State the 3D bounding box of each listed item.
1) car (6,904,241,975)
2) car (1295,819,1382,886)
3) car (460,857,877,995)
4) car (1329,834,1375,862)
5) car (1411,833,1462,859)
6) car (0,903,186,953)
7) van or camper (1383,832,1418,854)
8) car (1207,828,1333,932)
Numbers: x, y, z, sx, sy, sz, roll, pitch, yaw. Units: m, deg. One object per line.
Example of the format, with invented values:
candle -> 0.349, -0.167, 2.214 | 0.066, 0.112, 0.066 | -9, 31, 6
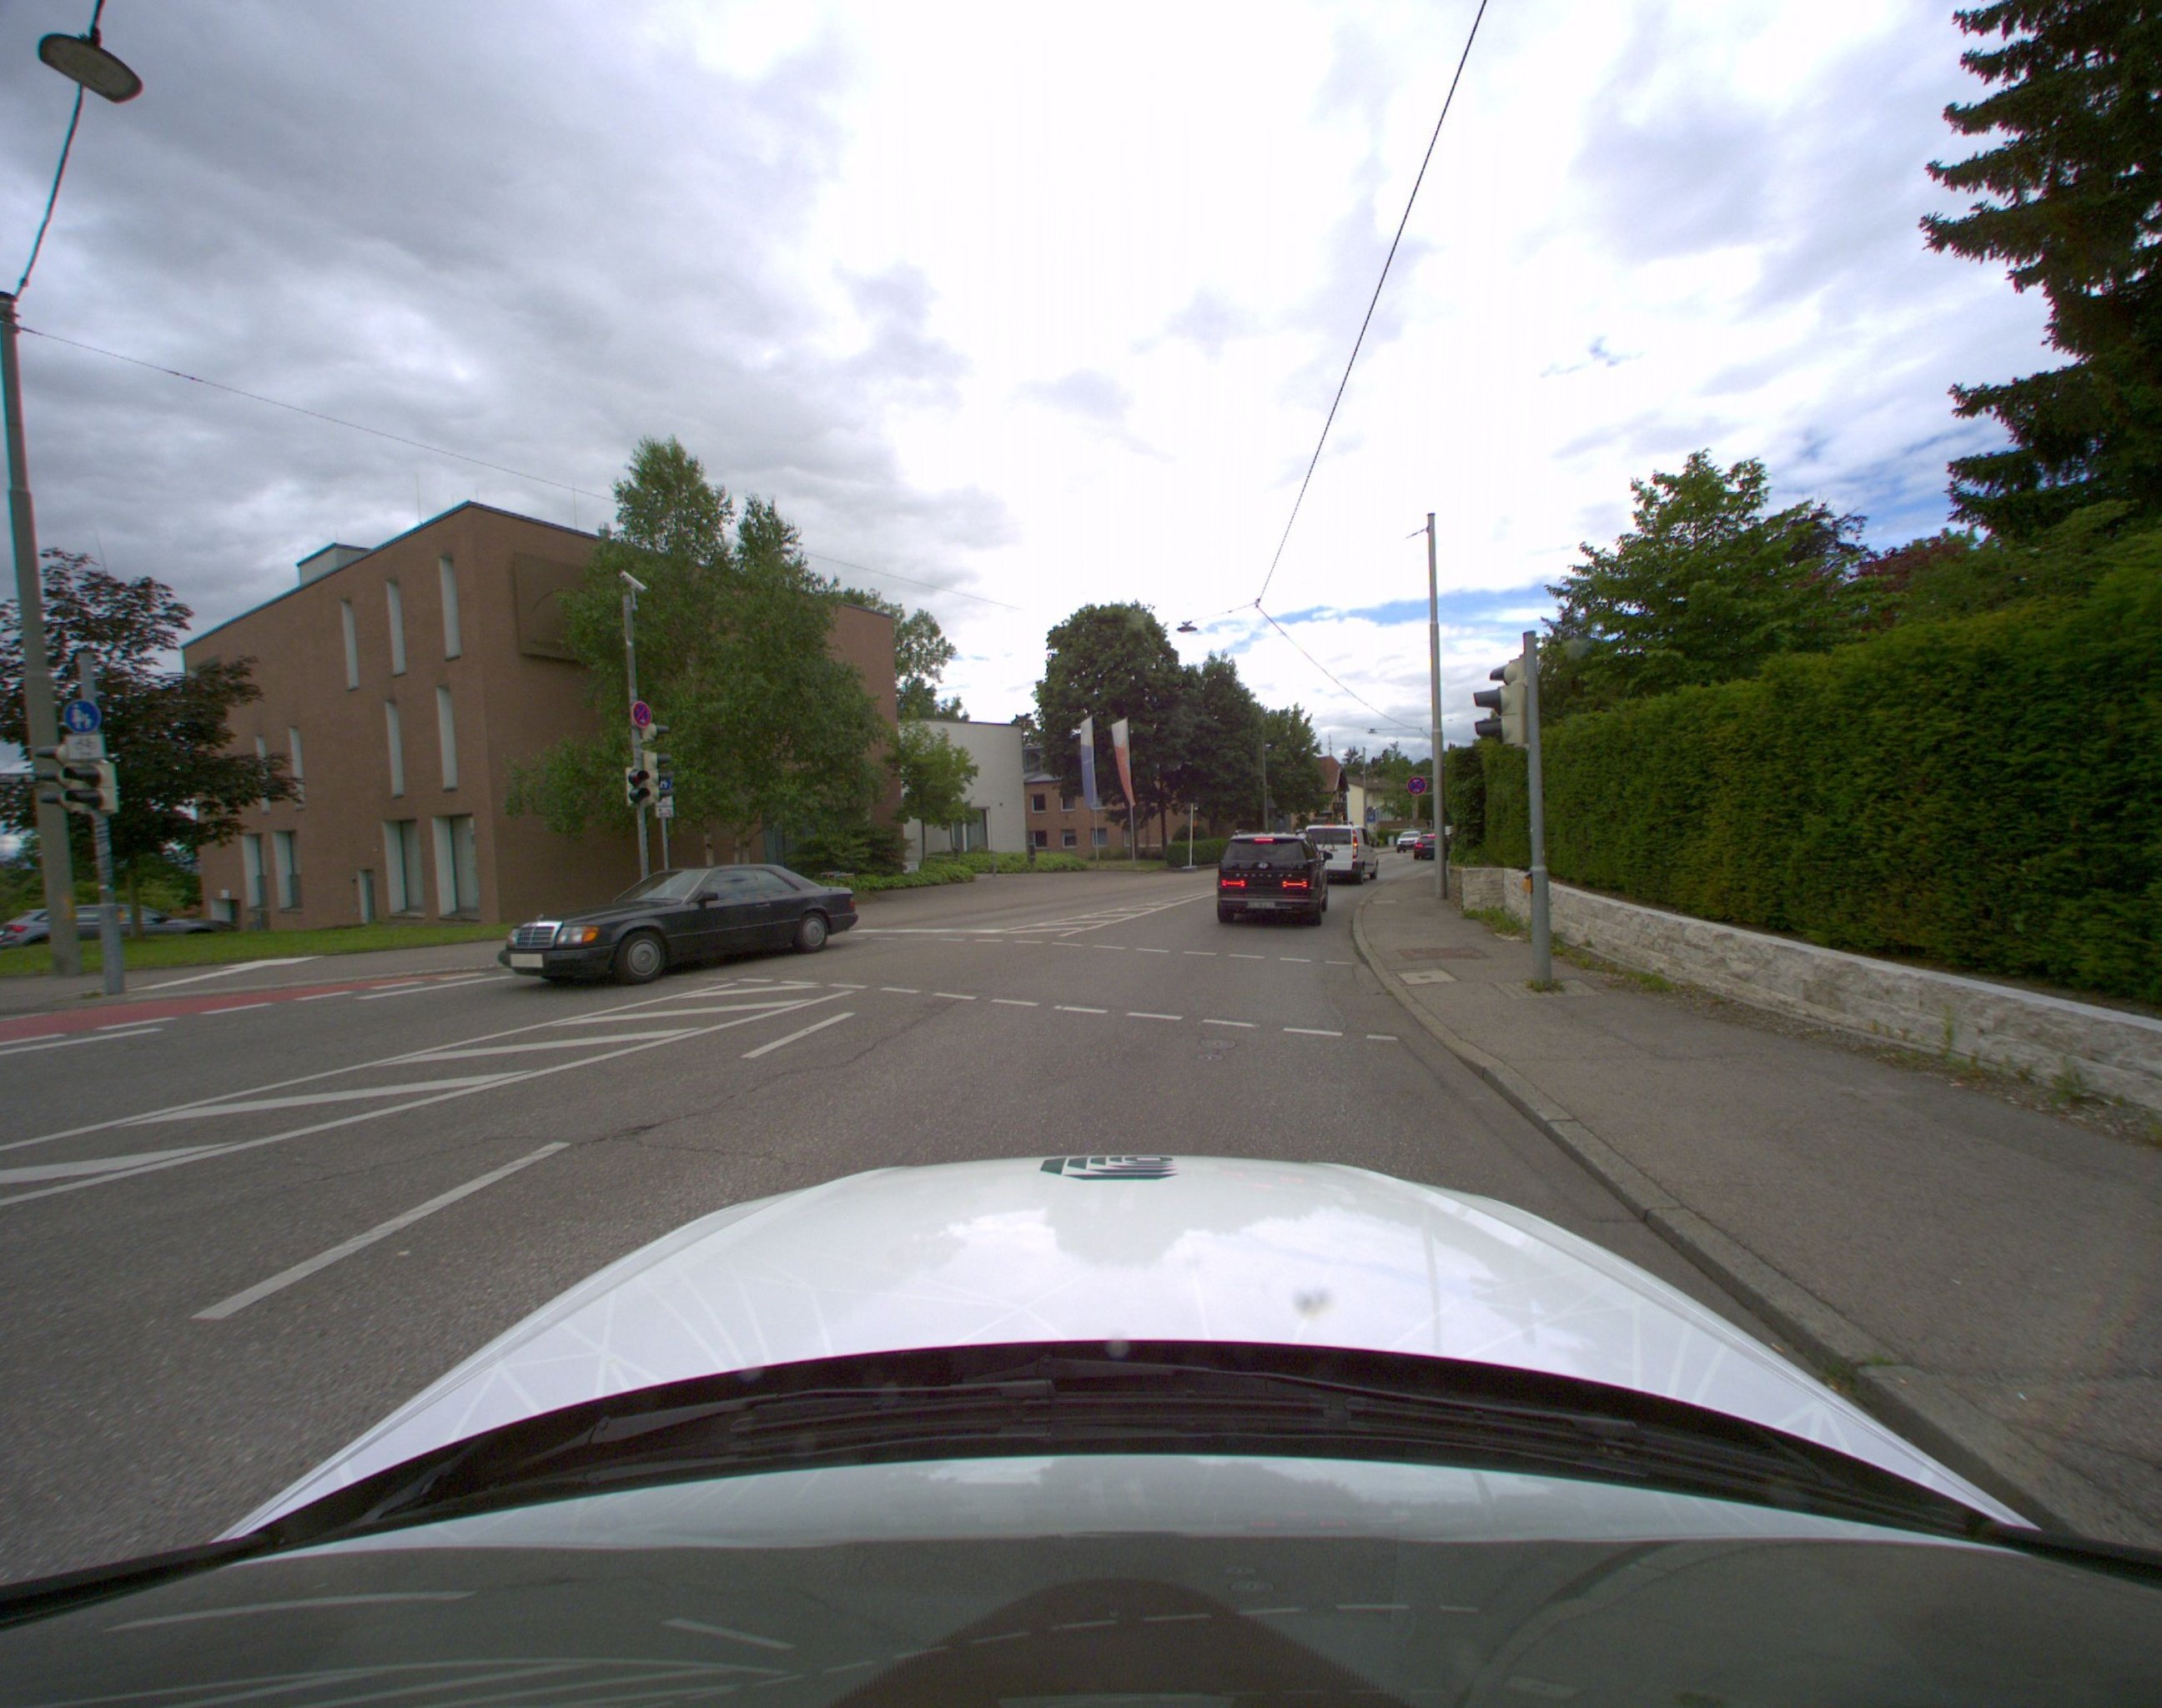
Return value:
car -> -26.348, 2.284, 22.546 | 1.763, 1.521, 4.031 | -3, -1, 35
car -> 8.678, -0.086, 27.177 | 1.939, 1.955, 4.249 | 4, 3, 28
car -> -5.200, 0.808, 11.161 | 1.829, 1.328, 4.898 | -3, 0, 27
car -> 15.574, -0.369, 46.747 | 1.679, 1.440, 3.781 | -4, 0, 31
car -> 20.434, -0.490, 46.749 | 1.974, 1.404, 4.026 | -2, 0, 33
car -> -30.092, 2.208, 24.609 | 1.763, 1.090, 3.871 | -3, 0, 35
van or camper -> 25.045, -0.876, 63.803 | 1.974, 1.607, 4.025 | -3, 0, 28
car -> 3.897, 0.370, 16.261 | 1.941, 1.712, 4.245 | 1, 3, 20
